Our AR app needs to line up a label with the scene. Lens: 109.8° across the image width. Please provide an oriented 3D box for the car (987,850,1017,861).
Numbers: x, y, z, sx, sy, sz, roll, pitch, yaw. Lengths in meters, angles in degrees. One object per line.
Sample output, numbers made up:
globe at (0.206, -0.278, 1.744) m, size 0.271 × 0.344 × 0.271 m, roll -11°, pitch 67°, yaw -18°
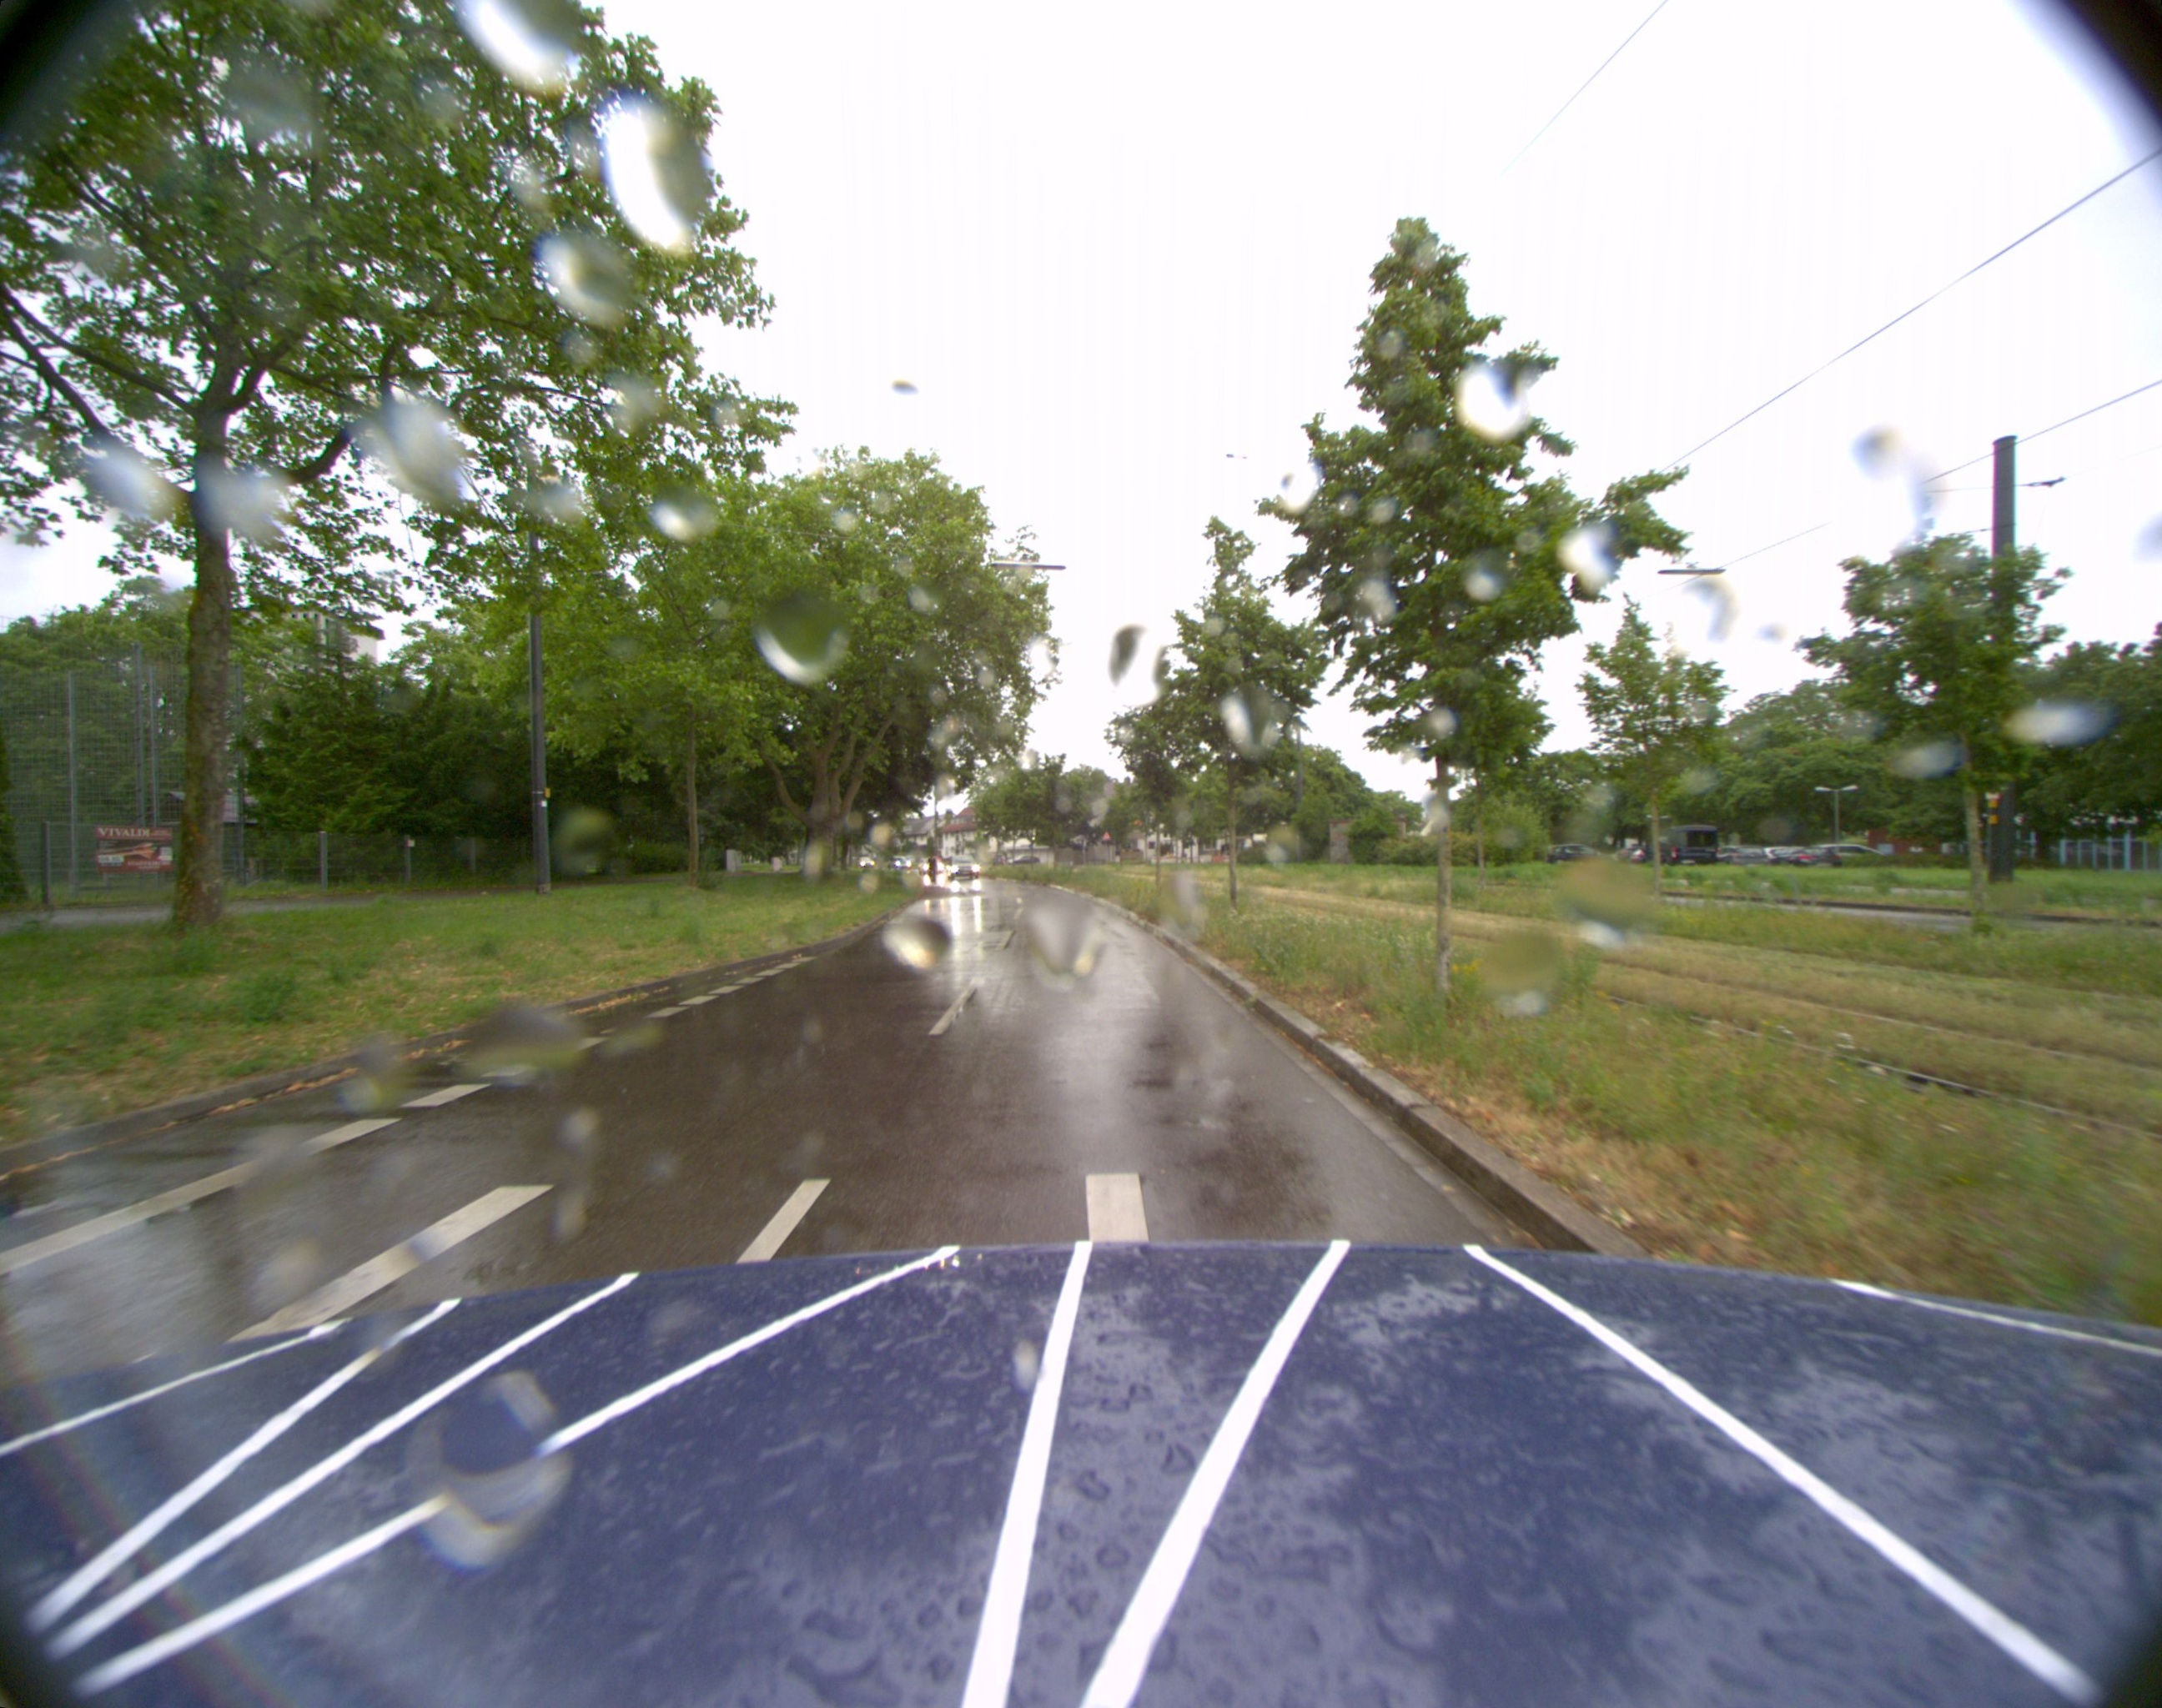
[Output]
car at (-11.997, 0.169, 115.296) m, size 4.006 × 1.567 × 1.888 m, roll -1°, pitch 0°, yaw -30°

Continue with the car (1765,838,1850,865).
car at (36.803, -0.126, 38.620) m, size 1.832 × 1.331 × 4.104 m, roll 0°, pitch 0°, yaw 24°

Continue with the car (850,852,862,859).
car at (-52.556, 0.288, 177.784) m, size 1.762 × 1.605 × 4.101 m, roll -4°, pitch 2°, yaw -29°

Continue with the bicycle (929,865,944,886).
bicycle at (-7.799, 1.155, 41.072) m, size 0.659 × 1.008 × 2.255 m, roll 0°, pitch 1°, yaw -7°

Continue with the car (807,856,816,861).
car at (-78.244, 1.311, 220.634) m, size 1.762 × 1.508 × 3.845 m, roll -4°, pitch 2°, yaw -29°

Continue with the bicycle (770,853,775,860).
bicycle at (-52.762, 0.410, 129.922) m, size 0.714 × 1.136 × 1.968 m, roll -2°, pitch 3°, yaw -20°

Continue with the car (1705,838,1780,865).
car at (34.611, -0.110, 39.882) m, size 1.832 × 1.331 × 4.104 m, roll 0°, pitch 0°, yaw 24°

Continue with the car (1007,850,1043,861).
car at (-7.935, 0.229, 108.080) m, size 4.747 × 1.357 × 1.844 m, roll -2°, pitch 1°, yaw -26°

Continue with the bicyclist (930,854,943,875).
bicyclist at (-7.757, 0.568, 40.873) m, size 0.622 × 1.078 × 0.624 m, roll 0°, pitch 1°, yaw -7°

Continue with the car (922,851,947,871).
car at (-13.273, 0.638, 68.828) m, size 1.770 × 1.715 × 3.928 m, roll -2°, pitch 1°, yaw -17°

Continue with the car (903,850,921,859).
car at (-31.453, 0.046, 140.994) m, size 2.003 × 1.604 × 4.673 m, roll -3°, pitch 1°, yaw -28°

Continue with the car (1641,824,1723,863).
car at (31.919, -0.542, 40.510) m, size 2.032 × 1.936 × 4.722 m, roll 0°, pitch 0°, yaw 20°

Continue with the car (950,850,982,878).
car at (-7.861, 0.656, 51.617) m, size 1.769 × 1.715 × 3.929 m, roll -3°, pitch 1°, yaw -13°

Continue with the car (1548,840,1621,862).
car at (34.896, -0.198, 52.774) m, size 4.051 × 1.426 × 1.694 m, roll -1°, pitch 1°, yaw 27°

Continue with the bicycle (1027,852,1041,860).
bicycle at (-6.350, 0.272, 102.748) m, size 1.836 × 1.013 × 0.483 m, roll -2°, pitch 3°, yaw 37°

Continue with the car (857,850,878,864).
car at (-28.699, 0.372, 102.145) m, size 1.771 × 1.715 × 3.924 m, roll -1°, pitch 1°, yaw -31°

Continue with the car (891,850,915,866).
car at (-20.671, 0.446, 88.049) m, size 1.771 × 1.715 × 3.925 m, roll -1°, pitch 1°, yaw -28°

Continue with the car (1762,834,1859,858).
car at (45.669, -0.478, 47.674) m, size 4.051 × 1.426 × 1.694 m, roll -1°, pitch 1°, yaw 27°

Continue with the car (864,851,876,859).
car at (-46.840, 0.259, 168.566) m, size 1.721 × 1.520 × 3.592 m, roll -4°, pitch 2°, yaw -30°

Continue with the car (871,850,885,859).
car at (-43.216, 0.087, 161.716) m, size 1.853 × 1.696 × 4.172 m, roll -3°, pitch 1°, yaw -30°
